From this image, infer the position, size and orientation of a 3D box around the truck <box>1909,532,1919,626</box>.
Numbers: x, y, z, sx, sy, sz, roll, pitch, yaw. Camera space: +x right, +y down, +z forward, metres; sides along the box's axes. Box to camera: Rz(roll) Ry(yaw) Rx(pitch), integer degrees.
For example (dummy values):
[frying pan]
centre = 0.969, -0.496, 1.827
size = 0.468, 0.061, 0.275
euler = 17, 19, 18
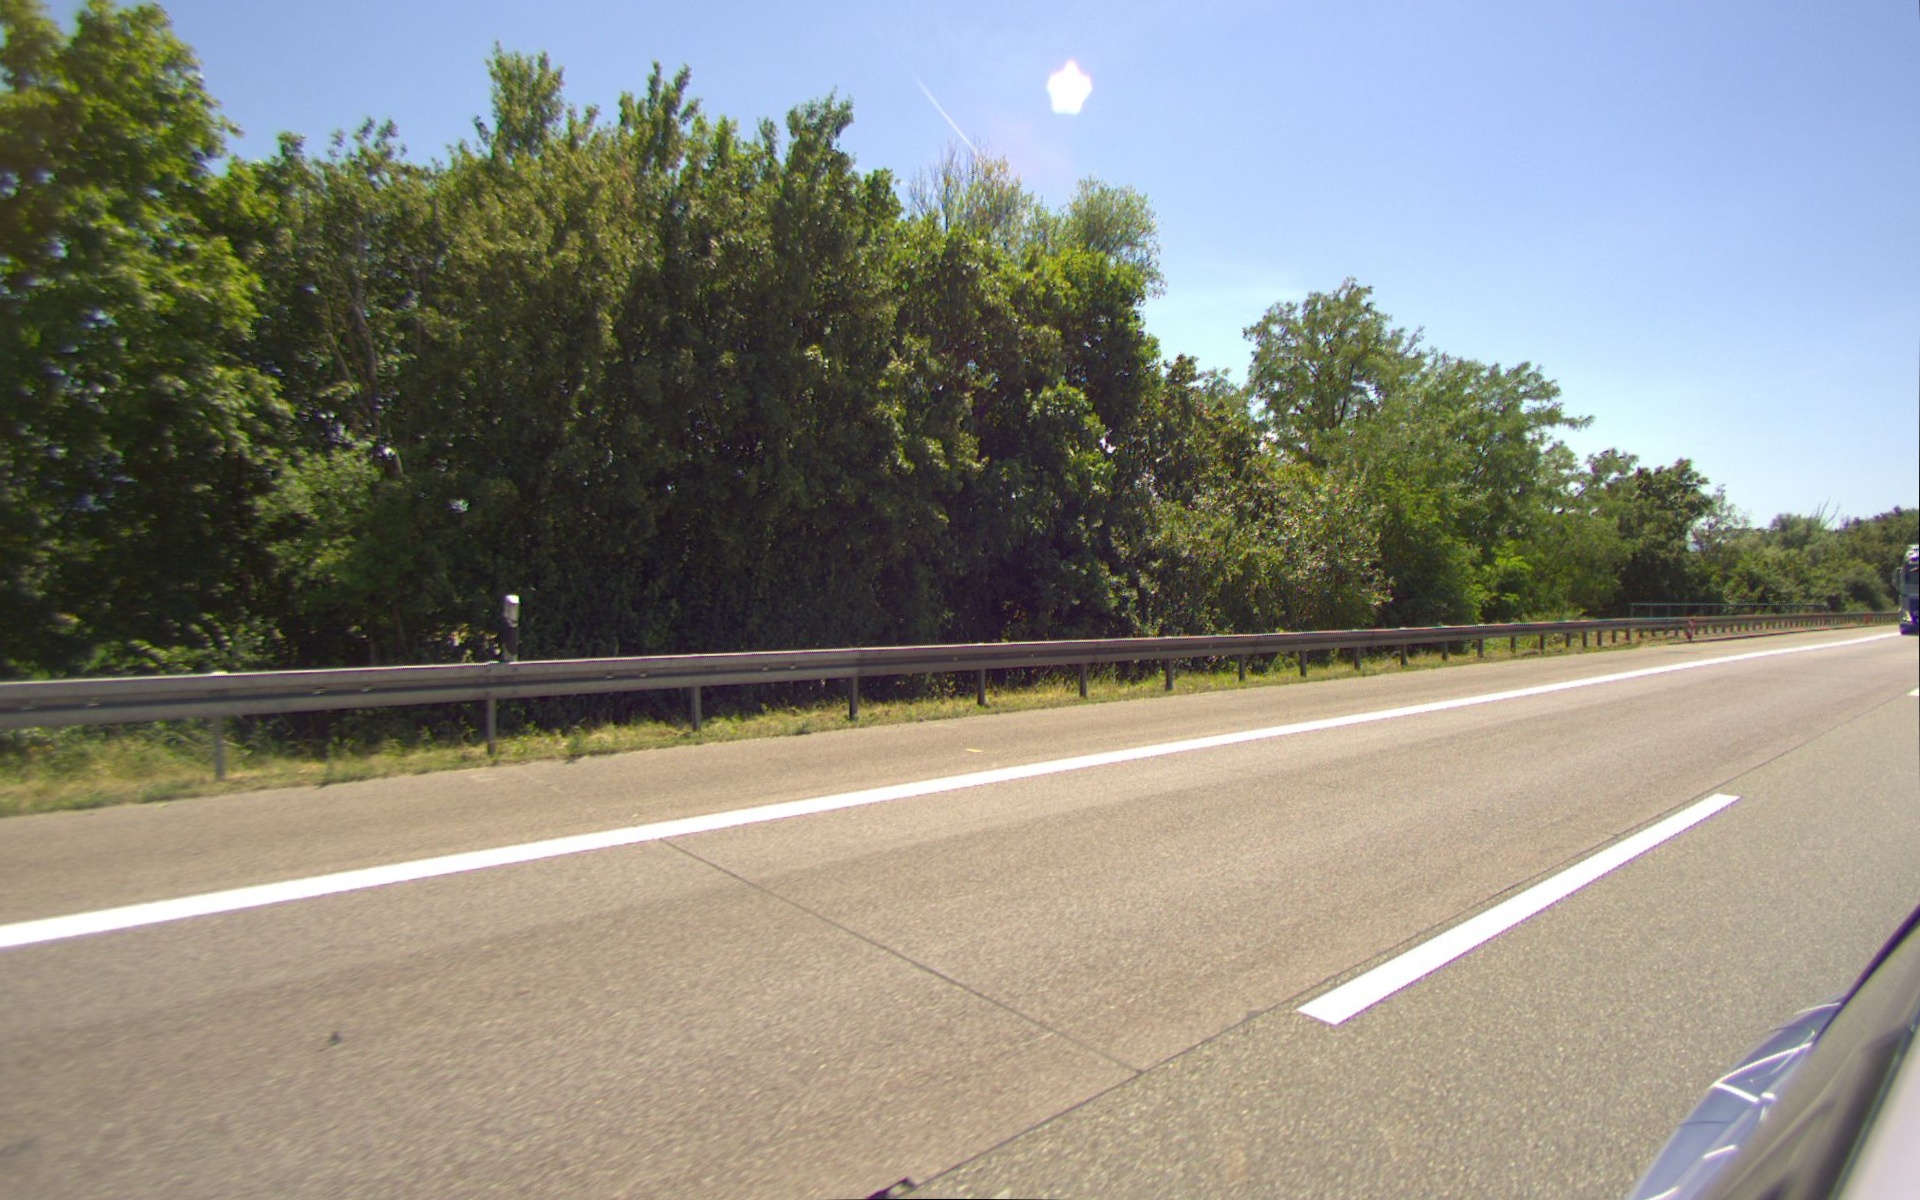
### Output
[truck]
centre = 47.501, -0.910, 47.448
size = 16.326, 4.007, 2.974
euler = 0, 1, -42
